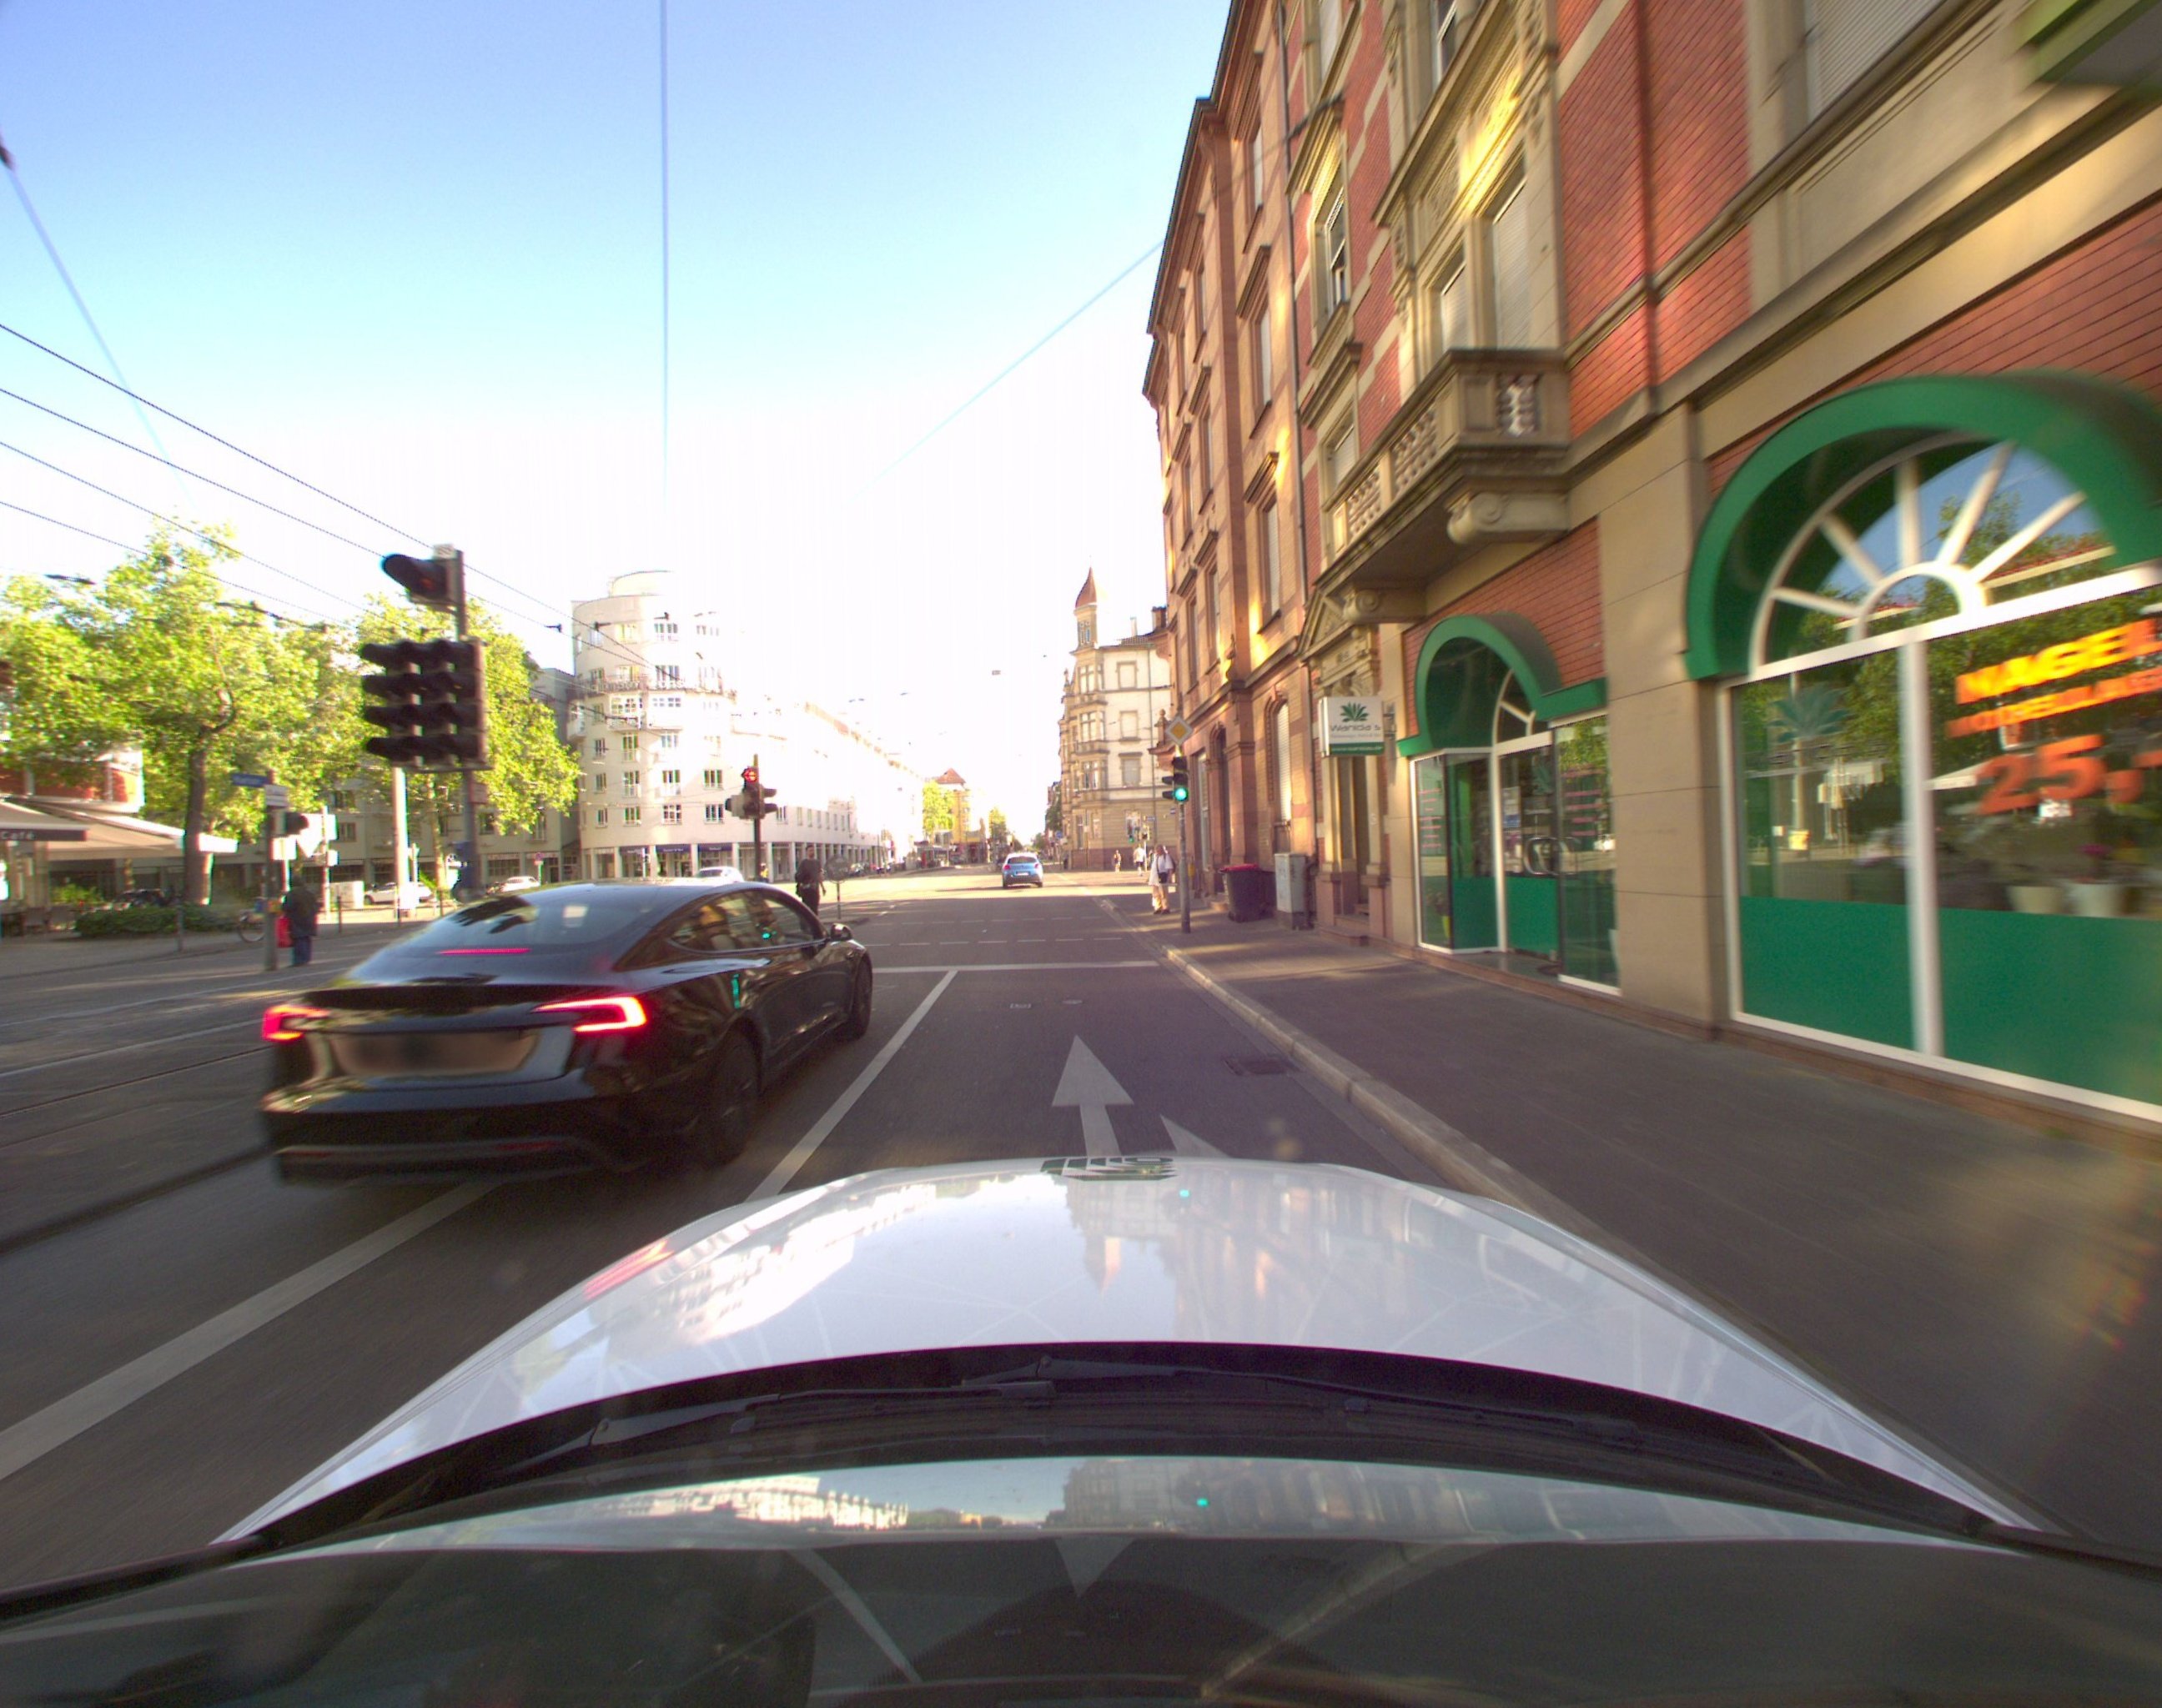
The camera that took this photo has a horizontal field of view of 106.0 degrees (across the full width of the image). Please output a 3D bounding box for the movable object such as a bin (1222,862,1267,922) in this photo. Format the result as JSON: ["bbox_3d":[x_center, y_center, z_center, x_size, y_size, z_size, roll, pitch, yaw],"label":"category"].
[{"bbox_3d":[3.145,0.730,15.742,0.661,1.072,0.590,-5,0,-1],"label":"movable object such as a bin"}]

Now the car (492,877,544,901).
[{"bbox_3d":[-40.470,2.473,58.634,1.802,1.402,4.079,-2,2,-17],"label":"car"}]

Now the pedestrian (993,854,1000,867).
[{"bbox_3d":[-10.356,0.833,99.996,0.579,1.562,0.473,-2,0,32],"label":"pedestrian"}]

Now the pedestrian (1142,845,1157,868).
[{"bbox_3d":[4.675,0.158,55.692,0.626,1.537,0.947,-3,-1,29],"label":"pedestrian"}]

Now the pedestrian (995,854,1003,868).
[{"bbox_3d":[-10.158,0.861,100.409,0.710,1.777,0.569,-2,0,32],"label":"pedestrian"}]

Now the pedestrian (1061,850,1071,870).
[{"bbox_3d":[-1.388,0.548,74.093,0.779,1.749,1.091,-2,2,-6],"label":"pedestrian"}]

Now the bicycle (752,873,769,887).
[{"bbox_3d":[-24.094,1.969,61.321,0.592,0.972,1.816,-2,-1,-2],"label":"bicycle"}]

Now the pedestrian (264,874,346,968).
[{"bbox_3d":[-13.386,1.137,14.070,0.499,1.517,0.858,-4,0,-3],"label":"pedestrian"}]

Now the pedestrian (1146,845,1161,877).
[{"bbox_3d":[4.020,0.372,45.217,0.638,1.745,0.708,-1,-1,18],"label":"pedestrian"}]

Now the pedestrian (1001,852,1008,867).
[{"bbox_3d":[-8.935,0.631,95.598,0.633,1.698,0.934,-1,-1,4],"label":"pedestrian"}]

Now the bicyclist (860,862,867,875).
[{"bbox_3d":[-24.533,1.642,91.743,0.587,1.488,0.926,-2,-1,-5],"label":"bicyclist"}]

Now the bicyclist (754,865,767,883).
[{"bbox_3d":[-24.097,1.487,61.313,0.587,1.285,0.926,-2,-1,-3],"label":"bicyclist"}]

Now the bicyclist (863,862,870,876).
[{"bbox_3d":[-24.796,1.770,94.272,0.587,1.585,0.894,-2,-1,-5],"label":"bicyclist"}]

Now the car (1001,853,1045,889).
[{"bbox_3d":[-2.467,0.711,35.383,1.777,1.451,3.650,-1,0,-3],"label":"car"}]

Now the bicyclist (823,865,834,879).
[{"bbox_3d":[-23.625,1.692,76.175,0.586,1.285,0.992,-2,-1,1],"label":"bicyclist"}]

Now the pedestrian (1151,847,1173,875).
[{"bbox_3d":[4.908,0.401,49.389,0.913,1.632,0.947,-3,-1,28],"label":"pedestrian"}]

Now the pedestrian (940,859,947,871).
[{"bbox_3d":[-18.370,1.531,108.797,0.730,1.559,0.742,-2,1,-4],"label":"pedestrian"}]

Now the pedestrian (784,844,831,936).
[{"bbox_3d":[-5.480,0.703,16.350,0.556,1.763,0.894,-4,0,-3],"label":"pedestrian"}]

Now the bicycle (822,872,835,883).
[{"bbox_3d":[-23.615,2.193,76.095,0.592,0.972,1.854,-2,-1,0],"label":"bicycle"}]

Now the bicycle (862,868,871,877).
[{"bbox_3d":[-24.832,2.156,94.383,0.593,0.972,2.043,-2,-1,-5],"label":"bicycle"}]

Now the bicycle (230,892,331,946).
[{"bbox_3d":[-20.562,1.636,20.987,0.496,1.186,2.231,-2,0,-5],"label":"bicycle"}]

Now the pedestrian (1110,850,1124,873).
[{"bbox_3d":[2.591,0.536,58.807,0.918,1.632,0.943,-3,-1,5],"label":"pedestrian"}]

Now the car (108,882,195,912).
[{"bbox_3d":[-67.736,3.100,59.441,1.814,1.881,3.992,-2,0,-5],"label":"car"}]

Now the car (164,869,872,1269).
[{"bbox_3d":[-2.676,0.848,5.211,1.806,1.424,4.148,-1,0,-3],"label":"car"}]

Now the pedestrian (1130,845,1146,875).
[{"bbox_3d":[3.164,0.337,45.371,0.695,1.655,0.635,-3,-1,19],"label":"pedestrian"}]

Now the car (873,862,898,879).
[{"bbox_3d":[-24.165,2.052,100.853,2.223,1.911,4.602,-2,0,-4],"label":"car"}]

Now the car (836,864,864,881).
[{"bbox_3d":[-23.560,1.896,83.341,1.991,1.596,3.992,-2,-1,-5],"label":"car"}]

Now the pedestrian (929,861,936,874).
[{"bbox_3d":[-18.679,1.726,102.735,0.730,1.527,0.742,-2,1,-4],"label":"pedestrian"}]

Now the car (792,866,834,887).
[{"bbox_3d":[-20.899,1.739,63.712,1.990,1.451,4.642,-2,0,-5],"label":"car"}]

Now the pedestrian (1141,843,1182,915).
[{"bbox_3d":[1.863,0.568,18.899,0.681,1.607,0.728,-2,0,-12],"label":"pedestrian"}]

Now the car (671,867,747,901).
[{"bbox_3d":[-18.615,1.456,41.006,1.990,1.451,4.494,-2,0,-5],"label":"car"}]

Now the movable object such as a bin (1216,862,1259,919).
[{"bbox_3d":[3.125,0.721,16.326,0.661,1.072,0.545,-5,0,-1],"label":"movable object such as a bin"}]

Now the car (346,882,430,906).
[{"bbox_3d":[-46.721,2.701,54.957,3.981,1.402,1.804,-2,2,0],"label":"car"}]
